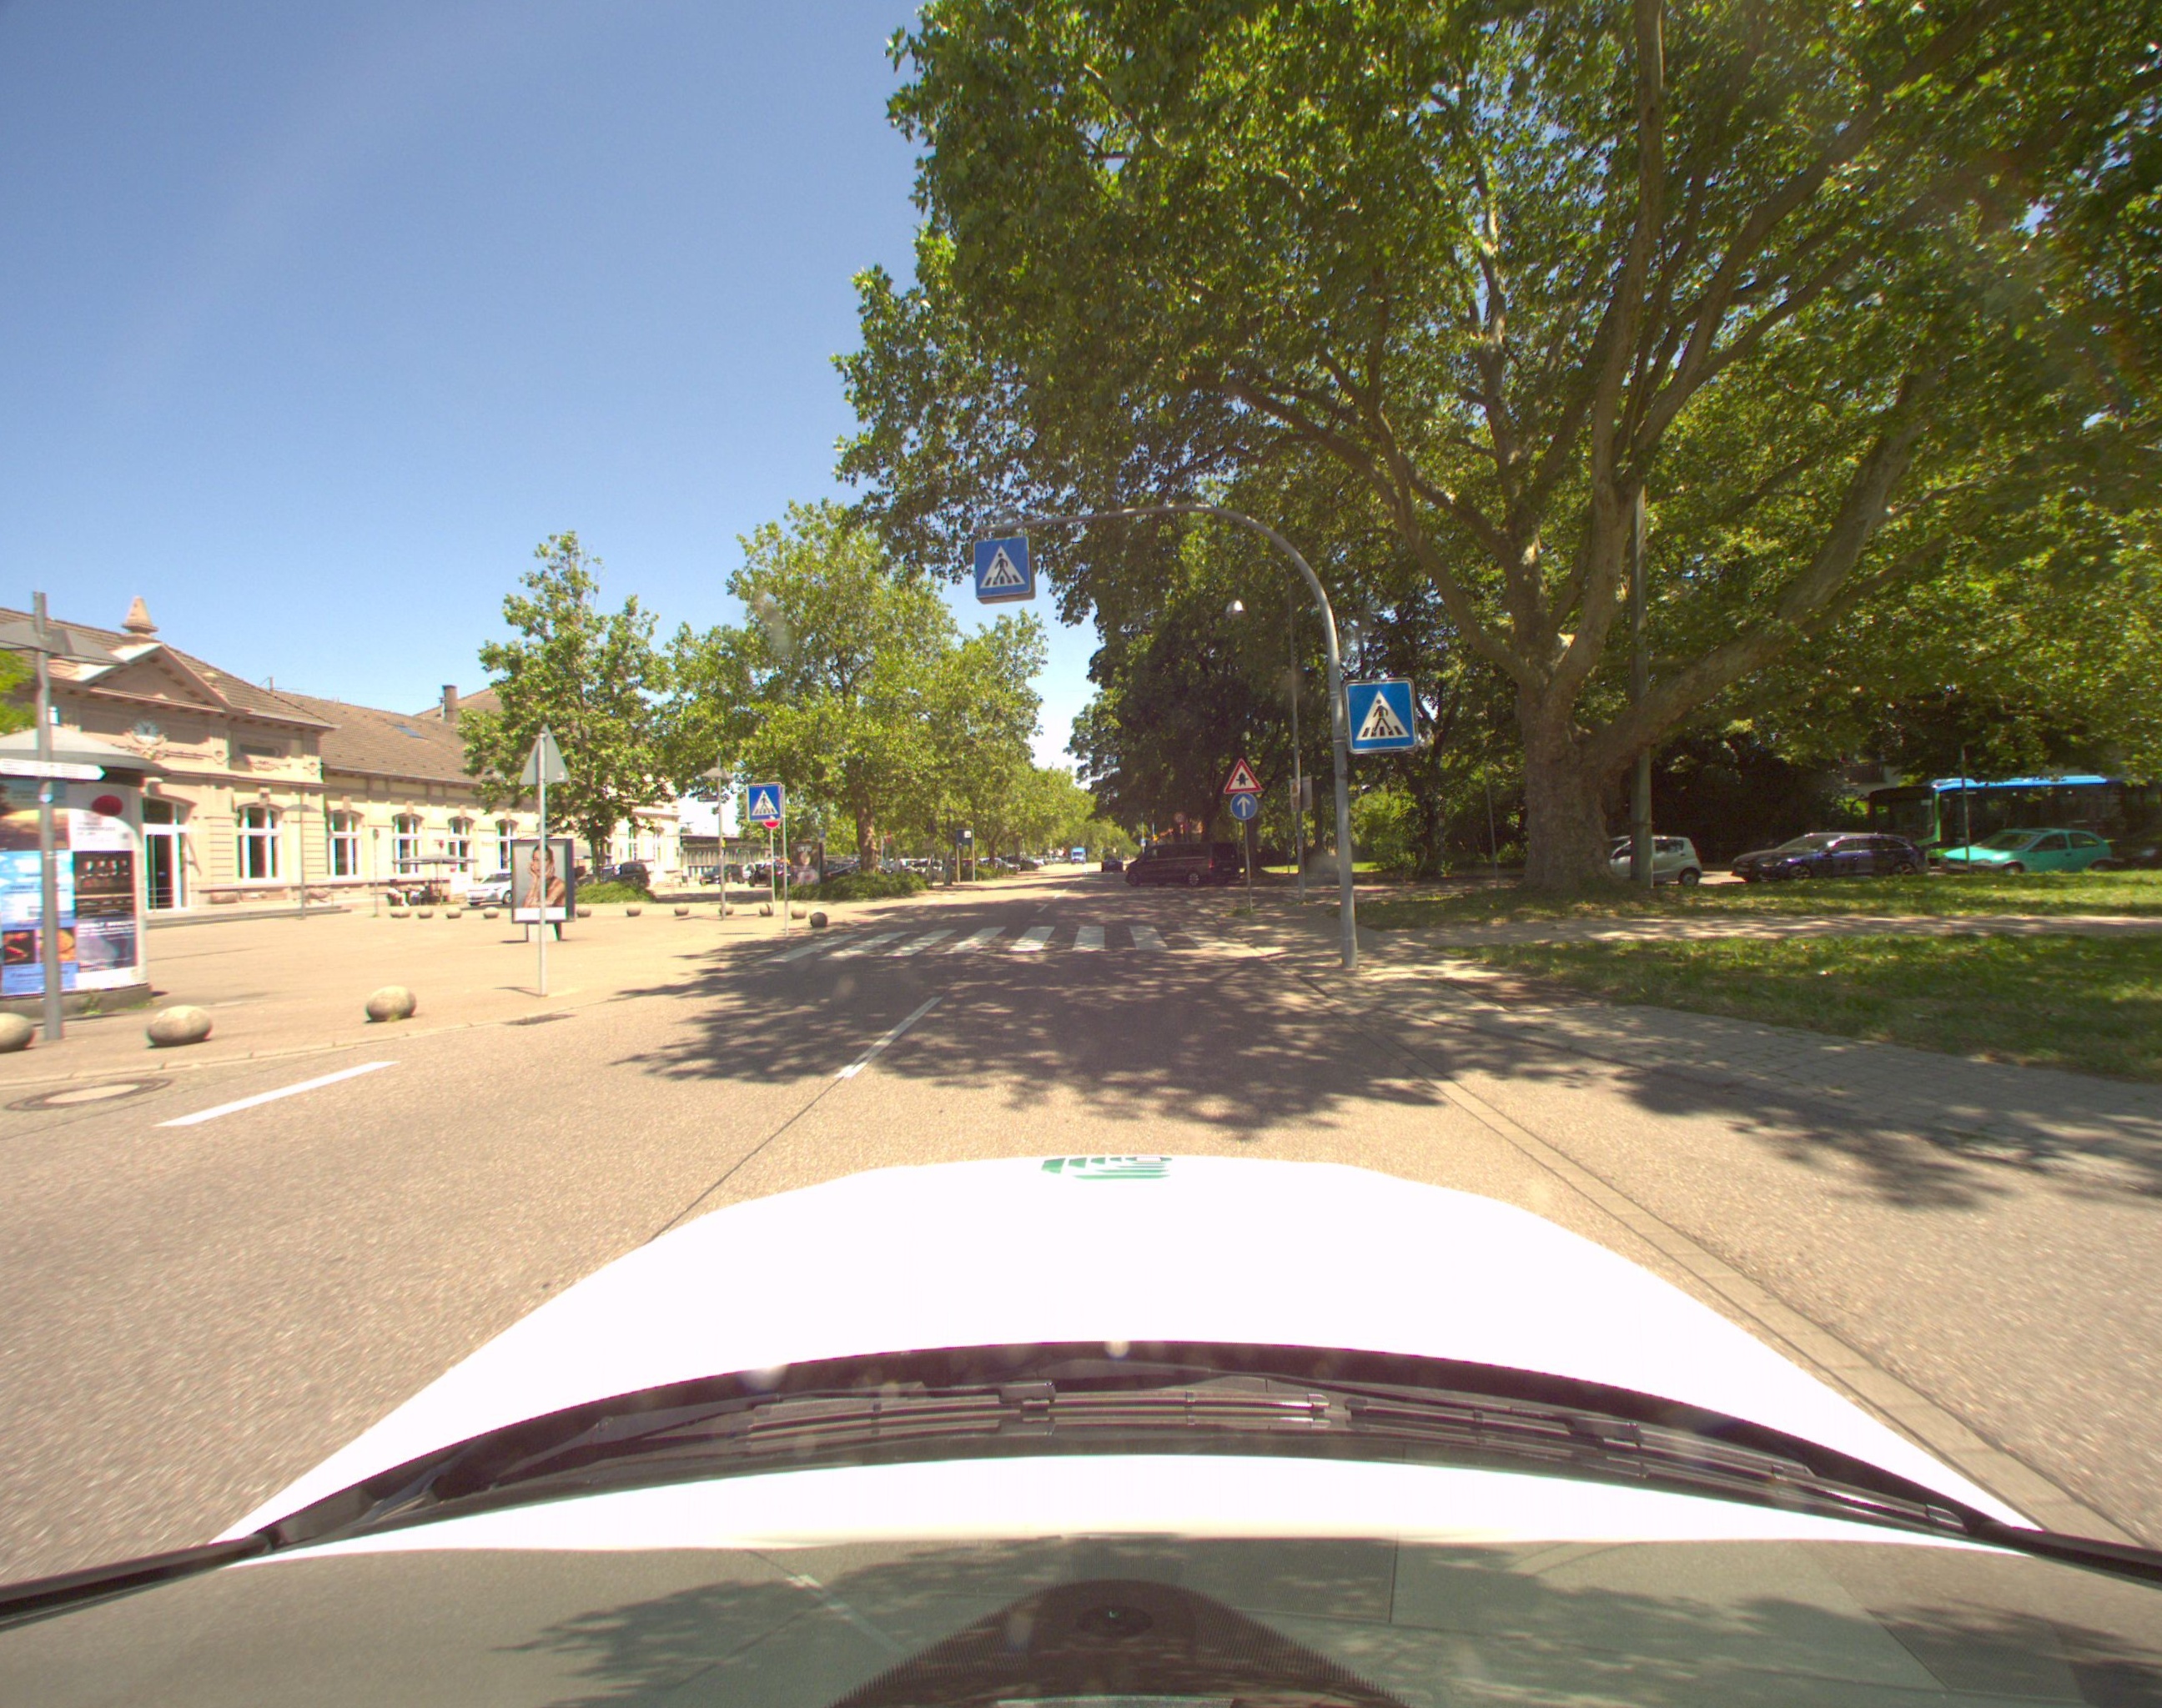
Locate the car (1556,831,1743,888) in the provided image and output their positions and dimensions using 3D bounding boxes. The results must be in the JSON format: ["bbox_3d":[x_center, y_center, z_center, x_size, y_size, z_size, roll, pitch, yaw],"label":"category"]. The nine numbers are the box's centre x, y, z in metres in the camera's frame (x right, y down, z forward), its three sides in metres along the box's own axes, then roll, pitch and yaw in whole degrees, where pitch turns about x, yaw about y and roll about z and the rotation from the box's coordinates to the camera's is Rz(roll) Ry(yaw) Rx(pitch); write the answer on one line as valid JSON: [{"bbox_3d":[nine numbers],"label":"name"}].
[{"bbox_3d":[16.782,0.136,24.243,4.085,1.466,2.003,-2,0,5],"label":"car"}]

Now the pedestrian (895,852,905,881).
[{"bbox_3d":[-12.778,0.855,57.359,0.625,2.014,0.568,-2,-2,-12],"label":"pedestrian"}]

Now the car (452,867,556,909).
[{"bbox_3d":[-29.201,1.648,41.413,1.744,1.917,4.777,-2,-1,2],"label":"car"}]

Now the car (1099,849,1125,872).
[{"bbox_3d":[2.640,0.567,70.007,2.117,1.848,4.050,-1,0,2],"label":"car"}]

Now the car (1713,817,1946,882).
[{"bbox_3d":[21.648,-0.128,23.722,4.803,1.607,2.002,-2,0,3],"label":"car"}]

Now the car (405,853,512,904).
[{"bbox_3d":[-32.467,1.216,42.715,1.713,2.468,5.005,-1,0,1],"label":"car"}]

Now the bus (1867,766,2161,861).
[{"bbox_3d":[35.677,-1.459,29.278,12.332,2.978,2.269,-2,-1,1],"label":"bus"}]

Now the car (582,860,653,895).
[{"bbox_3d":[-28.719,1.440,50.622,1.986,2.014,4.001,-2,-1,1],"label":"car"}]

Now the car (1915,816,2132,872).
[{"bbox_3d":[27.227,-0.259,23.645,3.866,1.454,2.001,-1,-1,2],"label":"car"}]

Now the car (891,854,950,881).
[{"bbox_3d":[-11.632,0.964,58.936,3.996,1.781,1.989,-2,-1,-17],"label":"car"}]

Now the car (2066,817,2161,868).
[{"bbox_3d":[31.985,-0.352,23.601,4.320,1.416,2.001,-1,-1,2],"label":"car"}]
